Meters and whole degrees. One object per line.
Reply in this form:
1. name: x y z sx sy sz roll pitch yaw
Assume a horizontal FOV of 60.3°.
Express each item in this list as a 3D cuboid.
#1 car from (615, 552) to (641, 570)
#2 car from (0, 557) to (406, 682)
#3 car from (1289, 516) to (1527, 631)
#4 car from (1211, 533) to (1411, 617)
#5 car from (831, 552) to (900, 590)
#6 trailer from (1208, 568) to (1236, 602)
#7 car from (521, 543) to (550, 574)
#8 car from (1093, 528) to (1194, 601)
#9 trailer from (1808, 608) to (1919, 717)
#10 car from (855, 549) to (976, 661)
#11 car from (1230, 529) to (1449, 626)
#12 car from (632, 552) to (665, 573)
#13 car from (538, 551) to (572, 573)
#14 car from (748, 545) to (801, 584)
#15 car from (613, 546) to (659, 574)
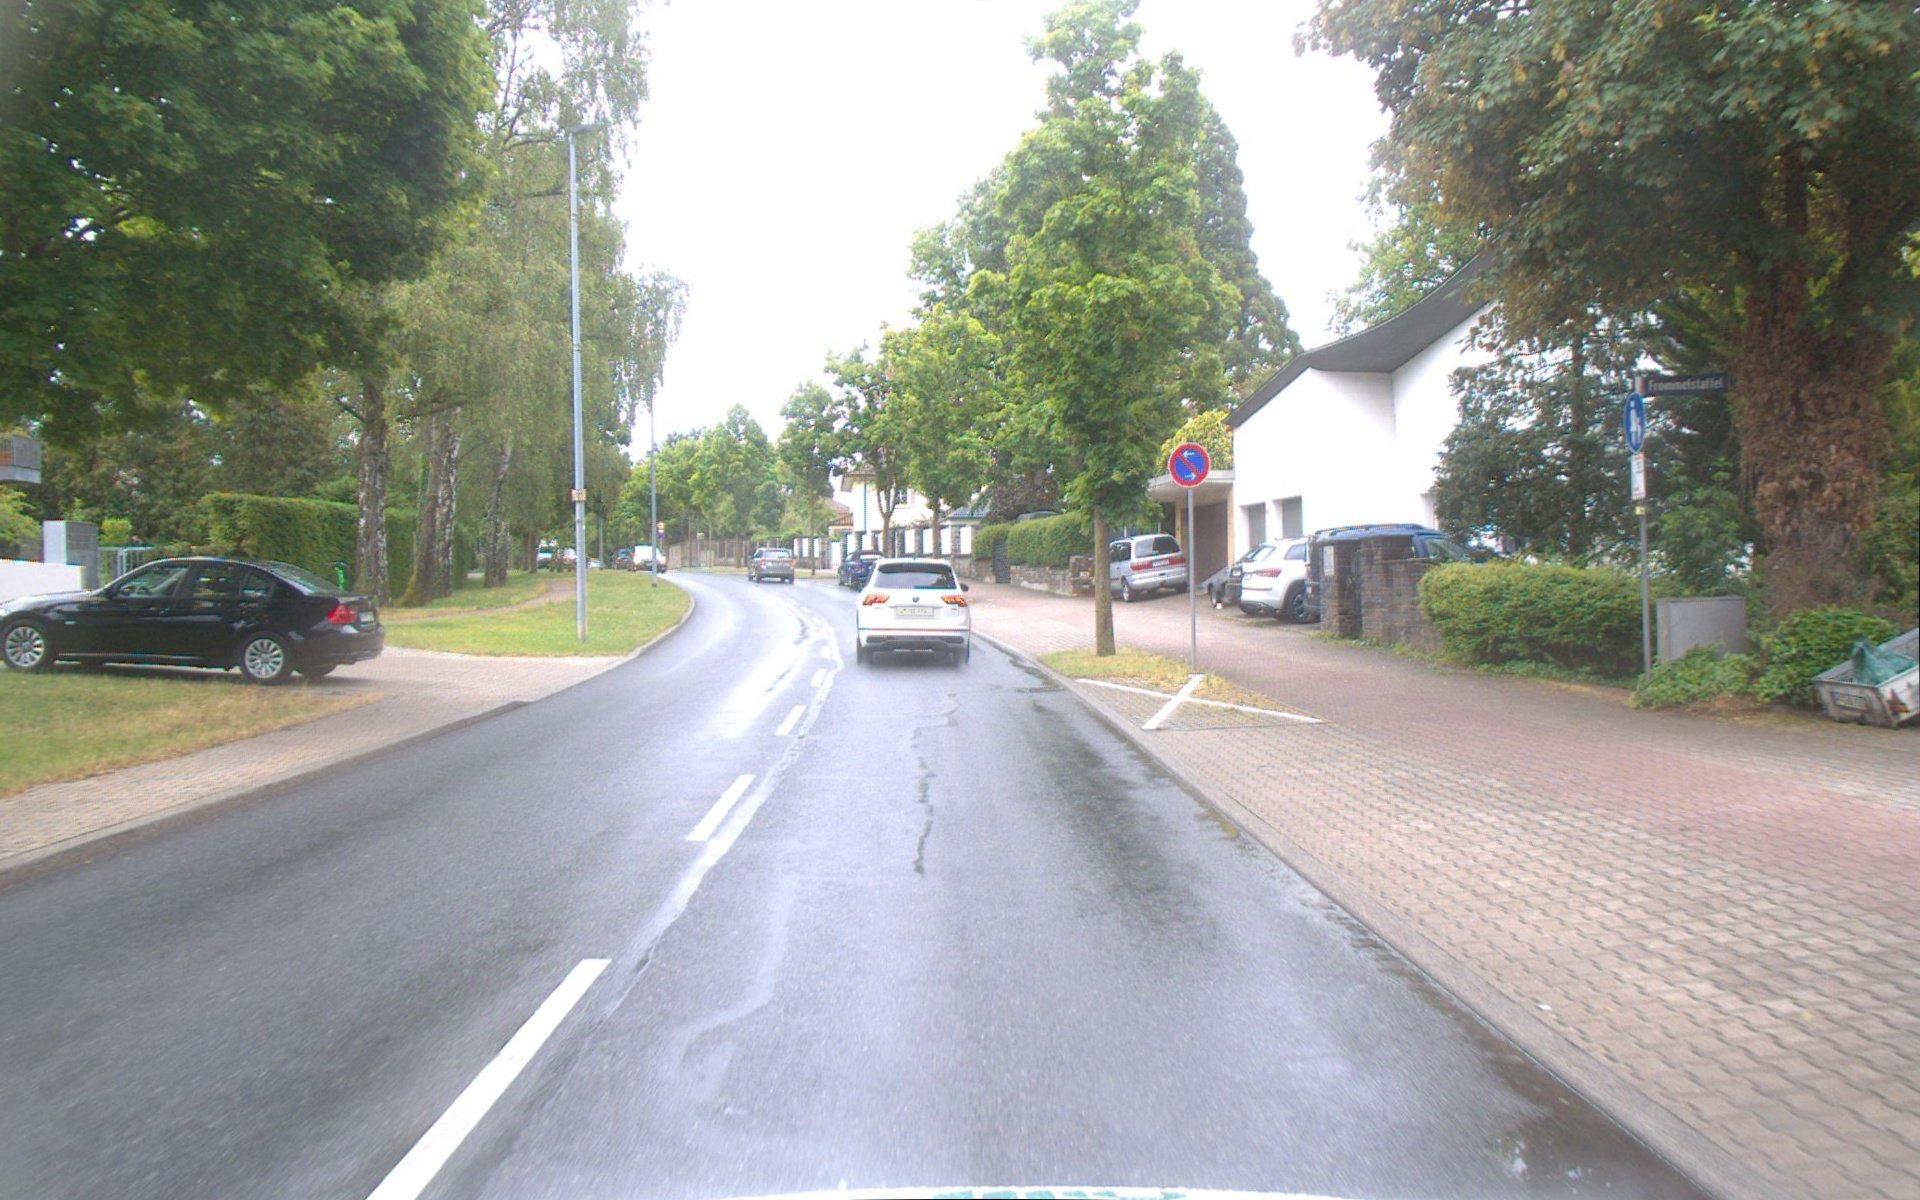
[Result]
1. car: -26.992 -3.191 134.531 1.617 1.452 3.979 1 1 -19
2. car: -9.041 0.217 19.927 4.130 1.386 1.690 1 0 2
3. car: 8.403 -0.525 31.191 3.910 2.048 1.827 1 2 -6
4. car: 7.699 -0.573 36.480 3.910 1.738 1.827 1 2 -6
5. car: -3.784 -1.176 65.497 1.619 1.452 3.976 1 1 -21
6. trailer: 6.138 -0.342 38.808 0.409 0.770 1.366 1 0 -1
7. car: -33.630 -3.299 131.039 1.742 2.428 3.975 1 1 -21
8. car: 5.178 -1.046 47.119 1.790 1.732 3.995 -9 3 -6
9. trailer: 8.809 0.541 14.554 2.000 0.899 1.364 1 0 1
10. car: -0.811 0.034 27.338 1.828 1.679 3.998 1 1 -4
11. car: 7.621 -0.482 33.420 3.910 1.843 1.827 1 2 -6
12. car: -21.995 -2.644 116.795 1.619 1.452 3.975 1 1 -21
13. car: -27.774 -2.603 113.367 1.742 1.452 3.975 1 1 -21
14. car: -8.077 -1.507 71.843 1.739 1.578 3.985 -1 0 -14
15. car: -17.555 -2.152 89.538 1.742 1.452 3.975 1 1 -21
